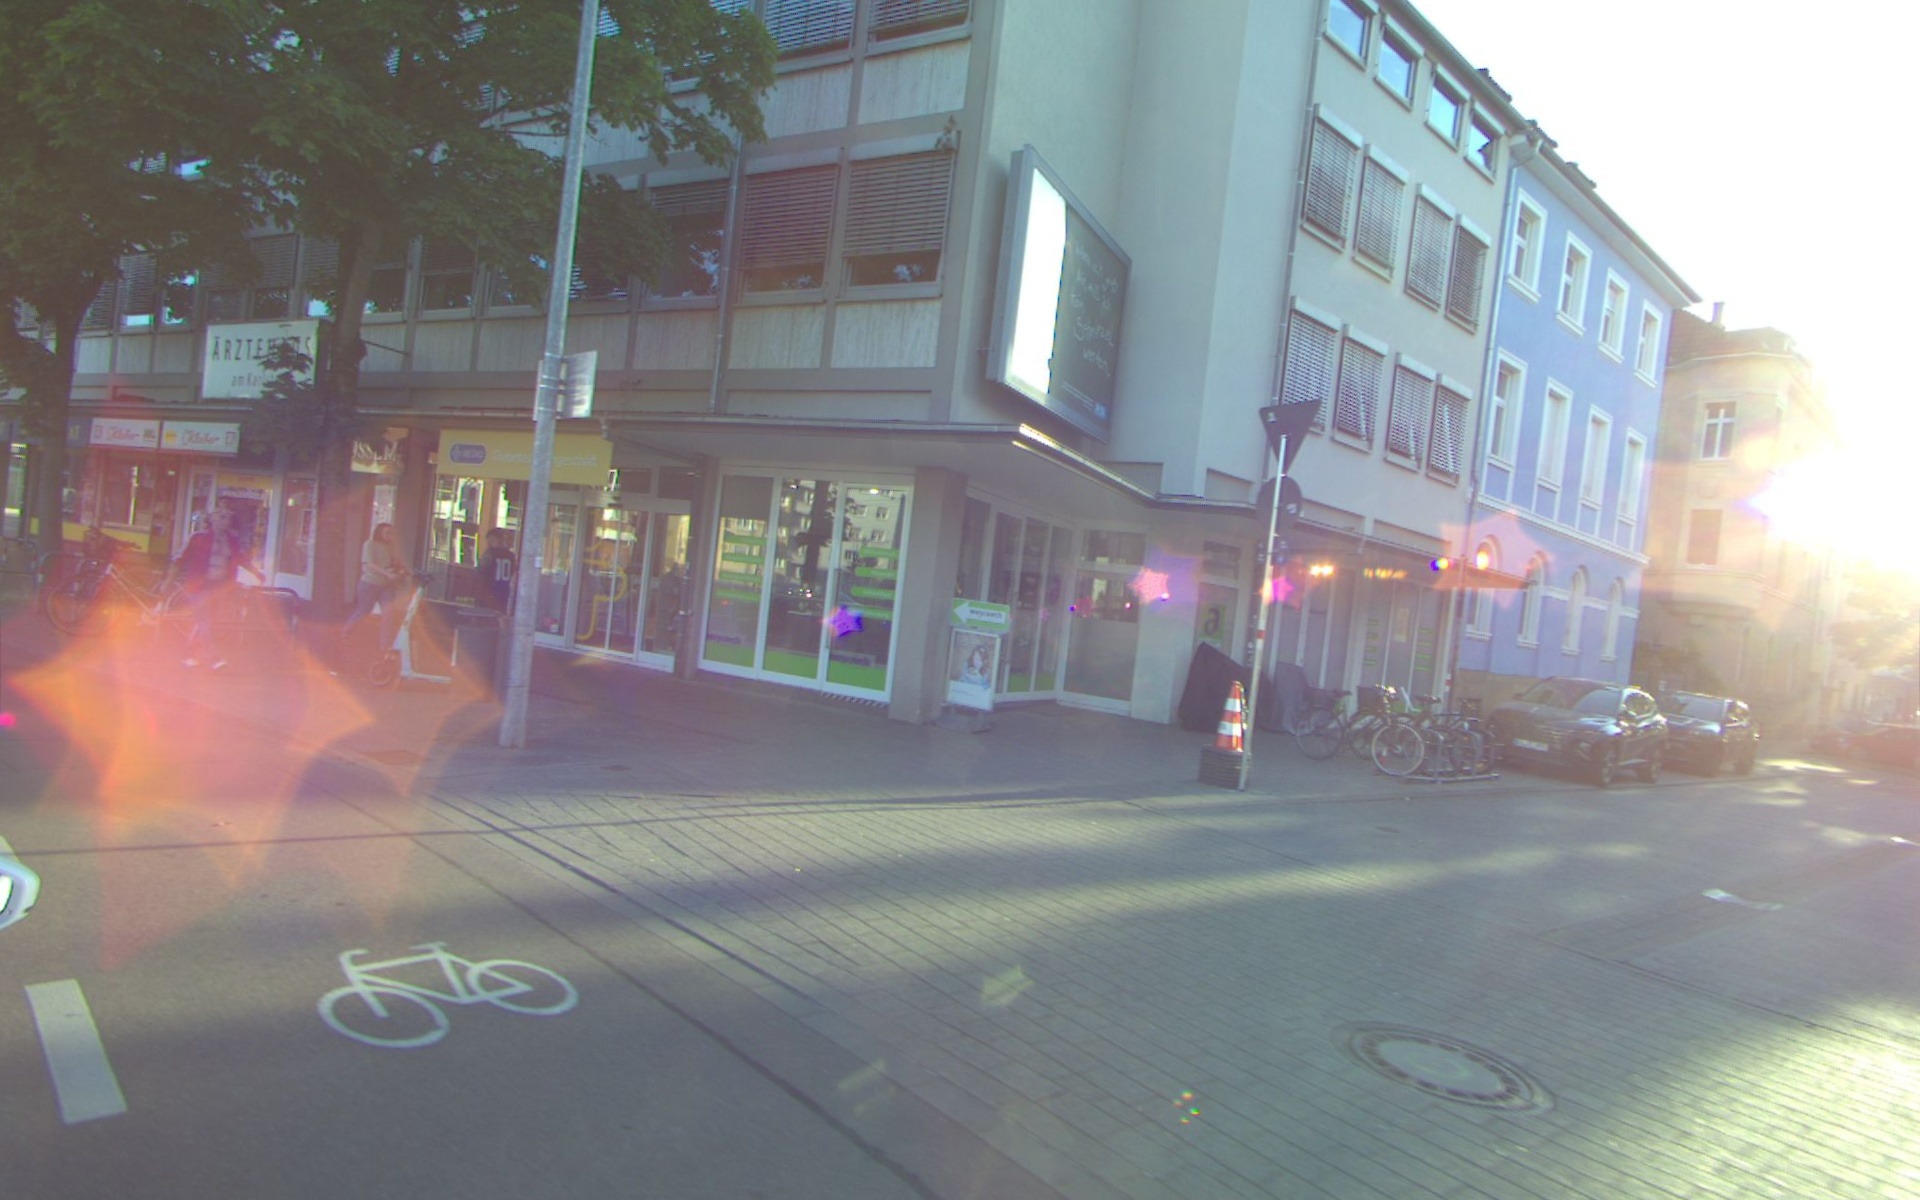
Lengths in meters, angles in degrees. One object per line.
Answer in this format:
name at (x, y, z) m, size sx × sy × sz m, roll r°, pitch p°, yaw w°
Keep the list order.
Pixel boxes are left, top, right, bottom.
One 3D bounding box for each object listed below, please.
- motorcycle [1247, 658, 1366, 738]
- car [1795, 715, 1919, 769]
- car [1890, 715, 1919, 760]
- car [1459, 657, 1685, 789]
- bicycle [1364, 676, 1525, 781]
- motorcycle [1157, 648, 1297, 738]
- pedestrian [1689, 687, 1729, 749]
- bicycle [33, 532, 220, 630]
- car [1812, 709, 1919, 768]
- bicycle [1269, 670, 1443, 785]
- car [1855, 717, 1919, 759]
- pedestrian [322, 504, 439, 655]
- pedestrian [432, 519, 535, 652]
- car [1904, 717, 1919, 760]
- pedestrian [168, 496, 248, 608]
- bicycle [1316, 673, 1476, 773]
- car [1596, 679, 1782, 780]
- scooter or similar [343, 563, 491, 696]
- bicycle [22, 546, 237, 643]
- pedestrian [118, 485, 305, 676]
motorcycle at (5.832, 1.661, 16.844) m, size 2.258 × 1.172 × 0.731 m, roll 7°, pitch 0°, yaw -41°
car at (31.736, 4.964, 34.615) m, size 4.074 × 1.361 × 2.002 m, roll 7°, pitch -2°, yaw 13°
car at (46.248, 6.632, 46.721) m, size 3.927 × 1.999 × 1.867 m, roll 7°, pitch -1°, yaw 23°
car at (10.790, 2.174, 17.619) m, size 4.406 × 1.773 × 1.898 m, roll 8°, pitch 1°, yaw -40°
bicycle at (7.120, 1.874, 14.866) m, size 0.625 × 1.126 × 1.894 m, roll 8°, pitch 2°, yaw -44°
motorcycle at (4.090, 1.431, 15.283) m, size 2.277 × 1.183 × 0.801 m, roll 7°, pitch 0°, yaw -40°
pedestrian at (22.202, 3.498, 29.818) m, size 0.709 × 1.731 × 0.664 m, roll 6°, pitch 1°, yaw -42°
bicycle at (-10.231, -0.204, 12.409) m, size 0.380 × 0.986 × 1.659 m, roll 6°, pitch -2°, yaw 34°
car at (34.067, 5.135, 36.761) m, size 3.927 × 1.638 × 1.999 m, roll 7°, pitch 0°, yaw 23°
bicycle at (5.262, 1.670, 13.488) m, size 0.582 × 1.127 × 1.980 m, roll 6°, pitch 3°, yaw -44°
car at (43.204, 6.366, 45.192) m, size 3.927 × 1.527 × 1.999 m, roll 7°, pitch 0°, yaw 23°
pedestrian at (-7.489, -0.255, 13.018) m, size 0.956 × 1.799 × 0.748 m, roll 6°, pitch -1°, yaw 29°
pedestrian at (-6.598, -0.197, 13.943) m, size 0.879 × 1.703 × 0.748 m, roll 6°, pitch -1°, yaw 29°
car at (48.727, 6.998, 48.648) m, size 3.927 × 2.037 × 1.846 m, roll 7°, pitch -1°, yaw 23°
pedestrian at (-12.926, -0.828, 17.298) m, size 0.788 × 1.799 × 0.746 m, roll 6°, pitch -1°, yaw 37°
bicycle at (6.193, 1.734, 14.370) m, size 0.625 × 1.126 × 1.896 m, roll 8°, pitch -2°, yaw -44°
car at (16.043, 2.858, 22.092) m, size 4.226 × 1.642 × 1.978 m, roll 7°, pitch 4°, yaw -37°
scooter or similar at (-5.503, 0.311, 10.239) m, size 1.202 × 1.232 × 0.293 m, roll 6°, pitch 0°, yaw -17°
bicycle at (-9.581, -0.036, 11.686) m, size 0.408 × 0.901 × 1.820 m, roll 6°, pitch -2°, yaw 34°
pedestrian at (-7.409, -0.174, 10.007) m, size 1.029 × 1.705 × 0.827 m, roll 7°, pitch -1°, yaw 4°
